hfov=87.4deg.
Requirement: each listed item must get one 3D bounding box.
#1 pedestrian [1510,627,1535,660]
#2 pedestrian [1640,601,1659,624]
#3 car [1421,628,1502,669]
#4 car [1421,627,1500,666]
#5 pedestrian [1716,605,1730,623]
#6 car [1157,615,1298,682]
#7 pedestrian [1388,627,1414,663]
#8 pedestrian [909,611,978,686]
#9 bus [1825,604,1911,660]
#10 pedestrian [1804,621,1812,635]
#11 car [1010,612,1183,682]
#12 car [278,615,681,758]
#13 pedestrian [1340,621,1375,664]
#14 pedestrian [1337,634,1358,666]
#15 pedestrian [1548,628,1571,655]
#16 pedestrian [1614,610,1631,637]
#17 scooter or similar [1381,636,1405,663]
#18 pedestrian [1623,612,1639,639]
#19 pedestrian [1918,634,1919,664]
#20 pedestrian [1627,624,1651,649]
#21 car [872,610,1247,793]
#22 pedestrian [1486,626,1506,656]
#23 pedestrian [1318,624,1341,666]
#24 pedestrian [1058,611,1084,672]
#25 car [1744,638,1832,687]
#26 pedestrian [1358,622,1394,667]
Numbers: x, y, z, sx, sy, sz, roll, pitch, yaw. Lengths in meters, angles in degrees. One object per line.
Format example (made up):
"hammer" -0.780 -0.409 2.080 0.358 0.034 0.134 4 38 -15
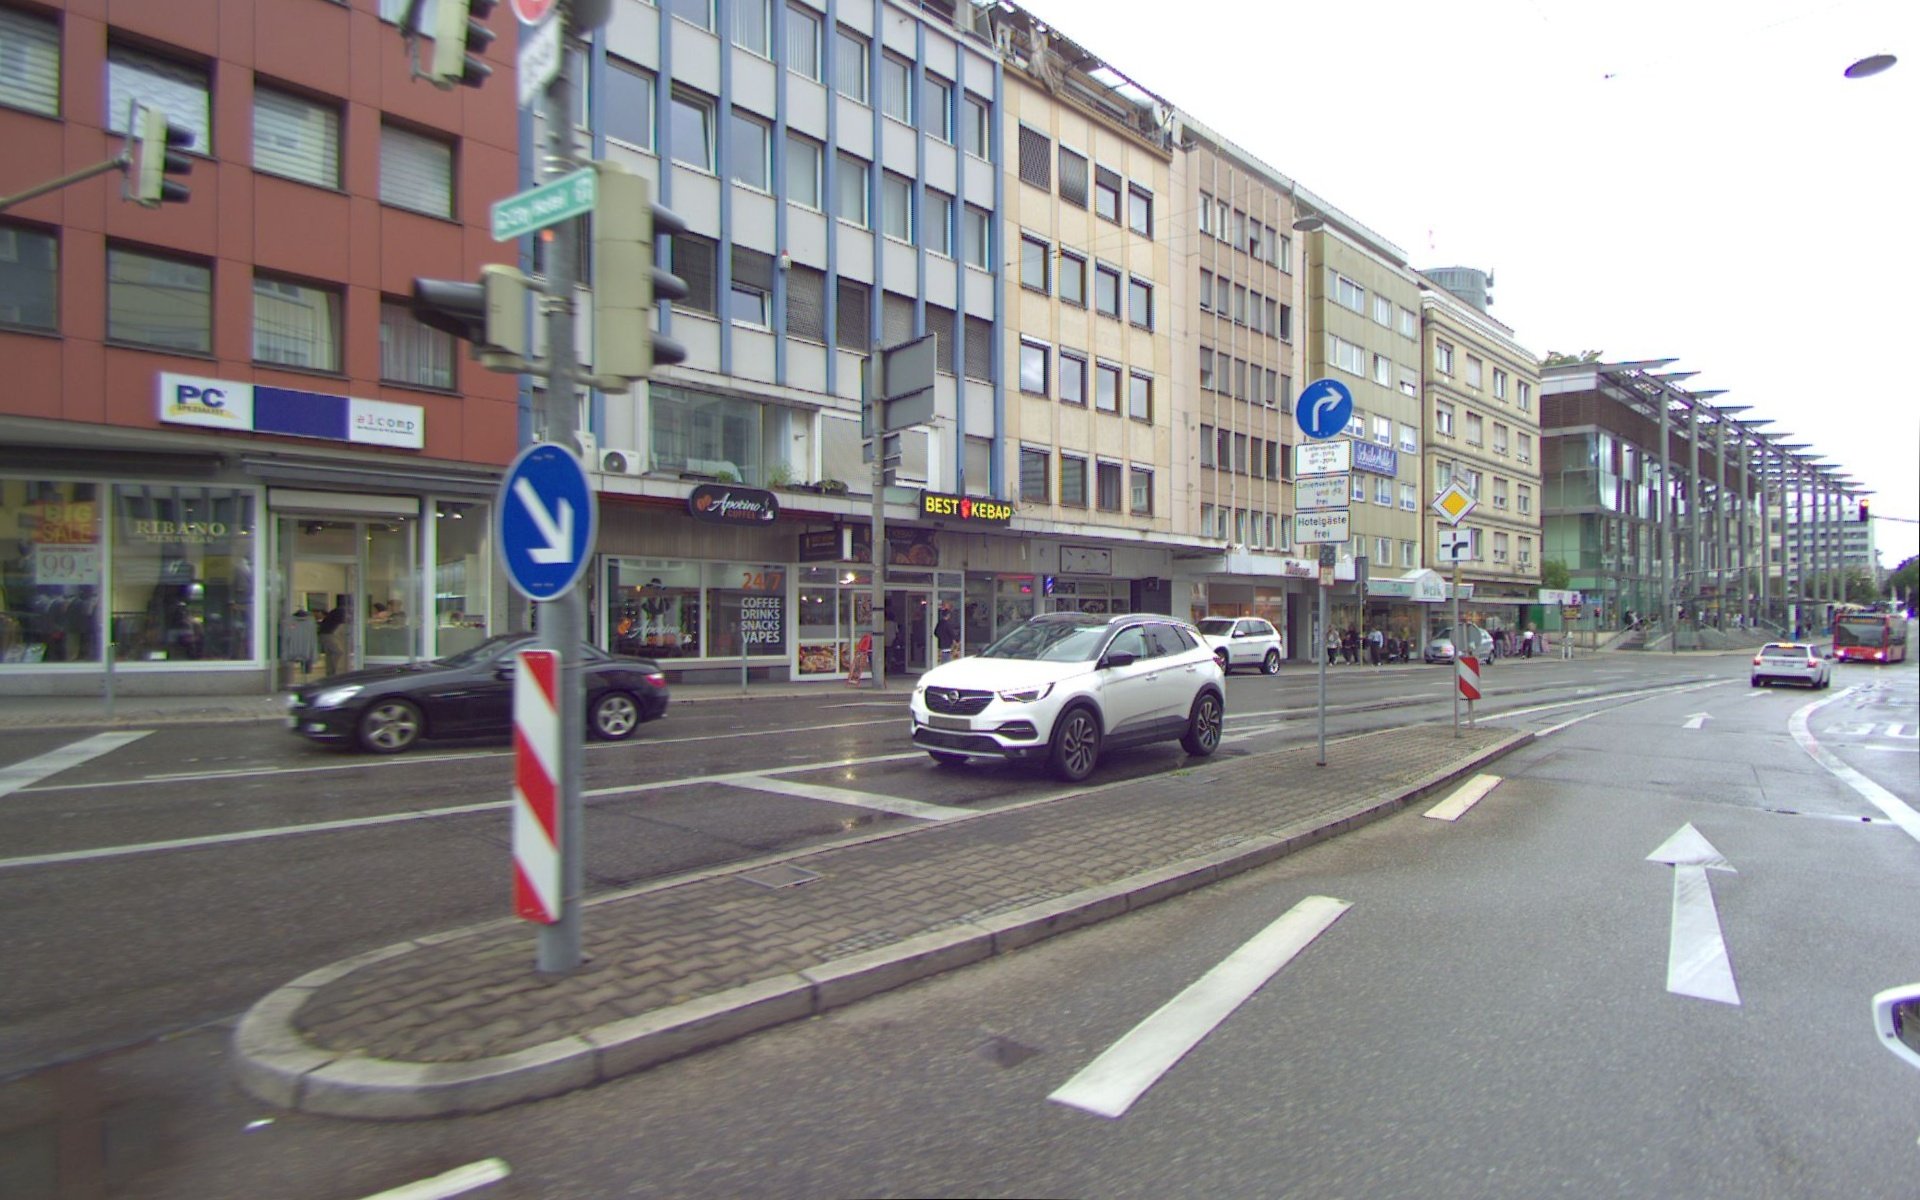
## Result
"pedestrian" 29.592 2.276 52.861 0.828 1.649 0.775 2 0 3
"pedestrian" 52.238 0.963 76.110 1.027 1.735 1.002 1 -1 41
"car" 21.954 2.066 43.921 4.371 1.571 1.829 1 1 -44
"car" 21.883 2.000 43.837 4.171 1.584 1.684 2 -1 -42
"pedestrian" 76.237 1.407 100.351 1.027 1.735 1.002 1 -1 41
"car" 8.255 1.433 30.703 4.928 1.851 1.832 2 -1 -43
"pedestrian" 18.986 1.926 43.211 0.660 1.504 1.058 2 1 45
"pedestrian" -0.394 1.157 24.570 0.942 1.741 1.410 2 1 45
"bus" 61.457 2.216 67.745 18.351 3.365 2.892 2 -1 -44
"pedestrian" 81.305 2.677 96.339 0.417 1.358 0.505 1 1 -44
"car" 3.652 1.202 26.237 4.846 1.630 1.847 2 -1 -43
"car" -5.624 0.946 12.022 4.028 1.379 1.776 3 -1 -40
"pedestrian" 16.545 1.734 41.800 1.079 1.718 0.942 1 1 -45
"pedestrian" 15.794 2.019 40.894 0.529 1.266 0.716 2 1 45
"pedestrian" 36.133 2.508 60.580 1.145 1.607 0.864 2 -1 -40
"pedestrian" 50.584 1.802 76.642 0.968 2.007 0.872 2 -1 -44
"scooter or similar" 18.350 2.103 42.590 0.696 1.068 0.729 1 1 -45
"pedestrian" 51.531 1.973 77.135 0.844 2.007 0.866 2 -1 -44
"pedestrian" 62.331 3.158 64.565 0.802 1.912 0.947 2 0 -37
"pedestrian" 49.644 2.659 73.464 0.991 1.735 1.039 2 0 -16
"car" 1.301 0.928 11.256 1.971 1.572 4.405 2 1 41
"pedestrian" 28.562 2.198 53.506 0.777 1.557 0.677 2 0 45
"pedestrian" 14.451 1.762 39.309 0.608 1.595 0.636 2 -1 -43
"pedestrian" 3.238 1.196 29.193 0.580 1.731 0.441 1 1 -43
"car" 27.479 2.017 33.276 4.601 1.434 1.774 2 -1 -45
"pedestrian" 16.634 1.749 40.125 1.083 1.737 0.942 1 1 -45
